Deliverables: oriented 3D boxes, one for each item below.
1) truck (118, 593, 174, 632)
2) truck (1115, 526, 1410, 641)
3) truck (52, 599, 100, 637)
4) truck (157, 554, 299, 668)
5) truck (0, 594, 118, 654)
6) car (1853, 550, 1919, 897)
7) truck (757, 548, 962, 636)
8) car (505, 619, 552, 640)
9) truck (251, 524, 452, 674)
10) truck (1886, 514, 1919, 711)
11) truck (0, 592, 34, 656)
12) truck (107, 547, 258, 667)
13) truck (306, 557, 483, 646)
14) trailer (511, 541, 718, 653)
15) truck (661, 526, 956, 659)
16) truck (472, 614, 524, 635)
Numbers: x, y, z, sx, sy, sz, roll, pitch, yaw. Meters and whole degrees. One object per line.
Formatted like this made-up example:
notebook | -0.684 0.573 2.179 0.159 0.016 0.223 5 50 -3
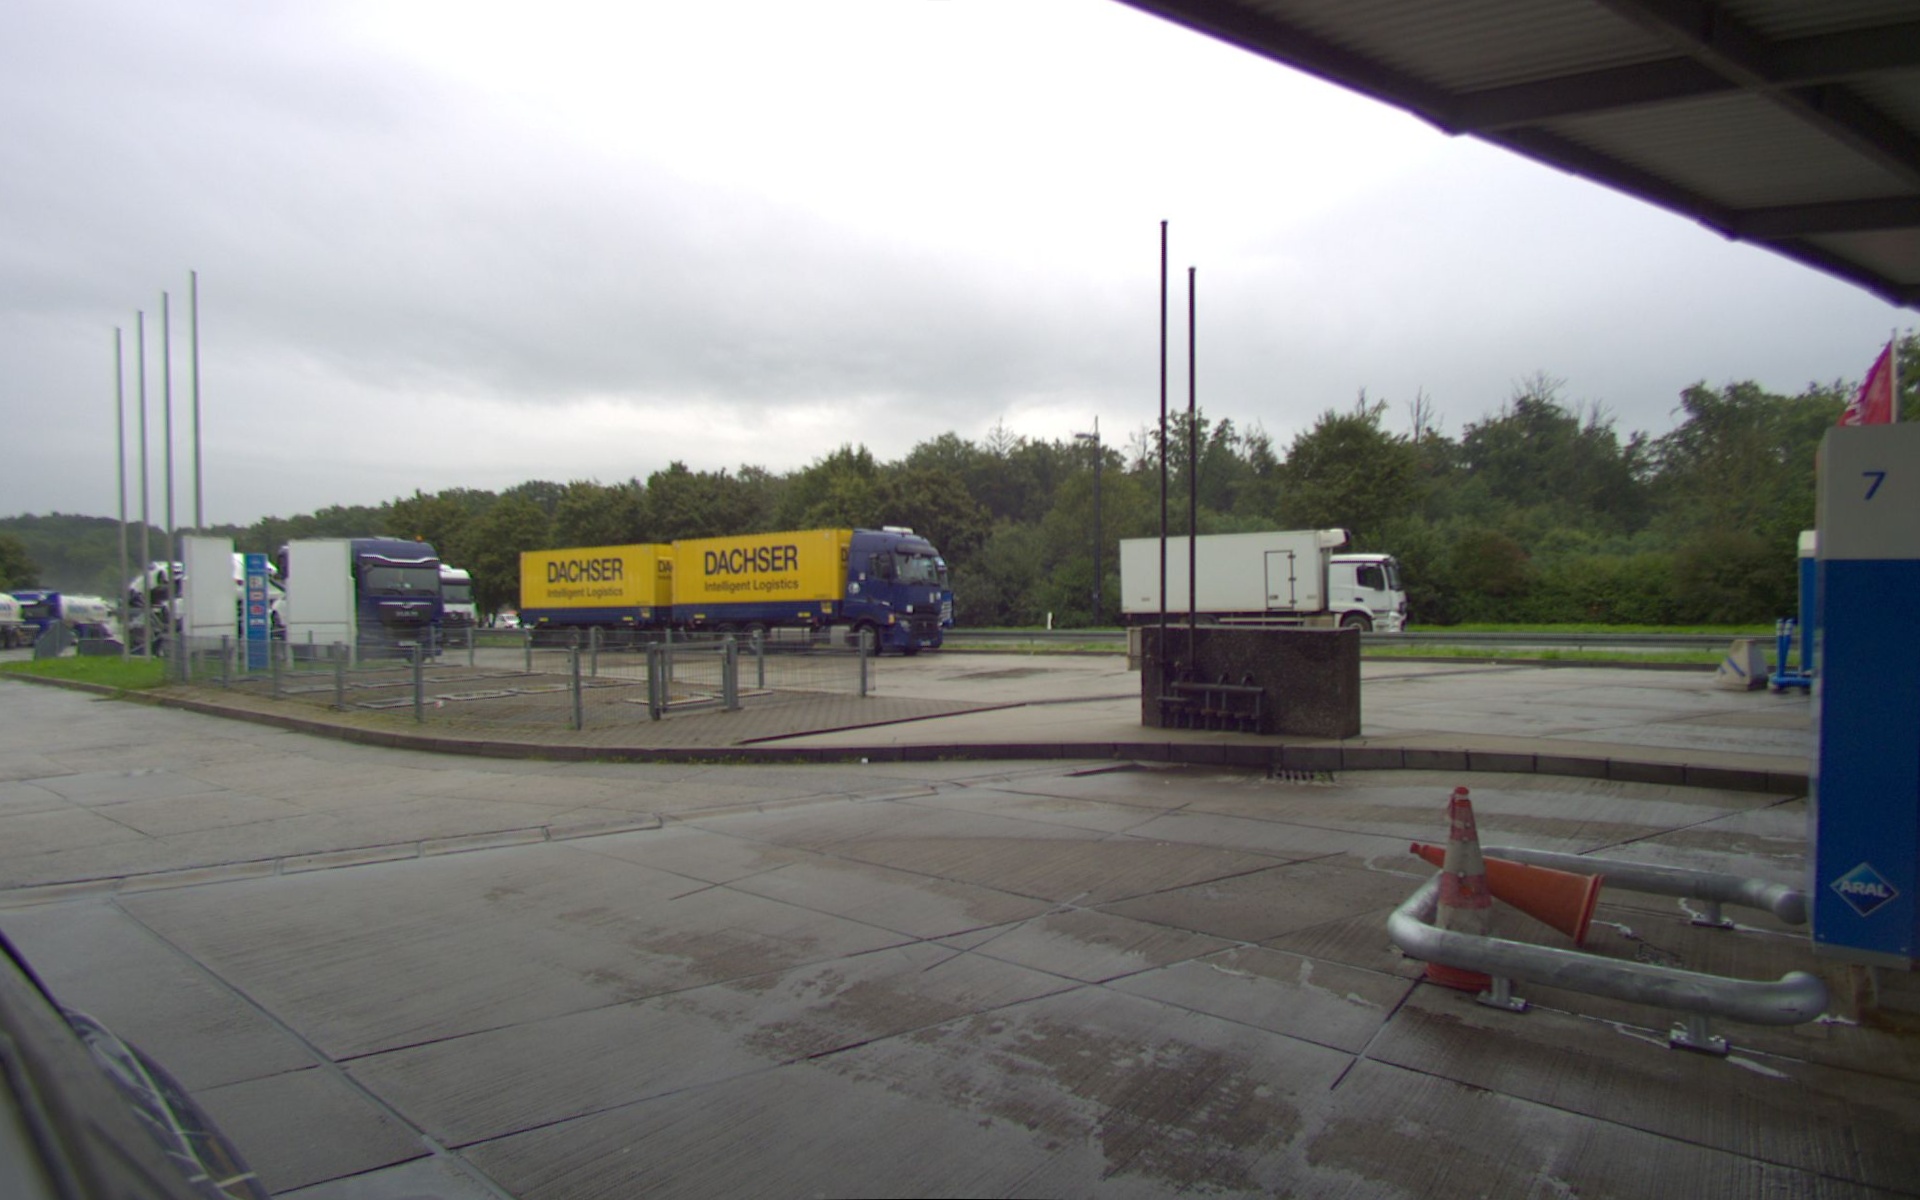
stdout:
truck | -112.303 1.688 139.554 11.498 5.160 3.109 -1 0 36
truck | 10.960 -0.508 37.454 10.195 3.836 2.395 -1 0 31
truck | -101.740 2.056 116.390 11.525 4.160 3.101 -1 0 44
truck | -26.117 0.399 36.077 4.738 3.800 2.635 -1 0 34
truck | -61.506 1.626 68.658 3.454 3.633 14.709 -1 -1 -27
car | 6.902 0.545 3.804 5.269 1.620 1.842 -1 0 41
truck | -4.889 -0.305 47.648 10.195 3.836 2.395 -1 0 31
car | -39.945 2.735 93.690 4.355 1.904 1.712 -1 0 30
truck | -19.019 0.015 31.481 7.089 4.213 2.635 -1 0 35
truck | 14.984 0.130 11.960 5.859 2.513 2.208 -1 0 41
truck | -55.166 1.341 53.691 3.454 3.633 14.444 -1 -1 -19
truck | -29.599 0.302 38.450 6.605 4.213 2.635 -1 0 35
truck | -27.329 0.109 48.632 10.654 3.946 2.727 -1 0 33
trailer | -13.509 -0.067 39.262 8.679 3.946 2.728 -1 0 32
truck | -5.347 -0.172 34.033 10.654 3.946 2.727 -1 0 33
truck | -49.425 2.626 108.218 5.810 2.140 2.061 -1 0 31
